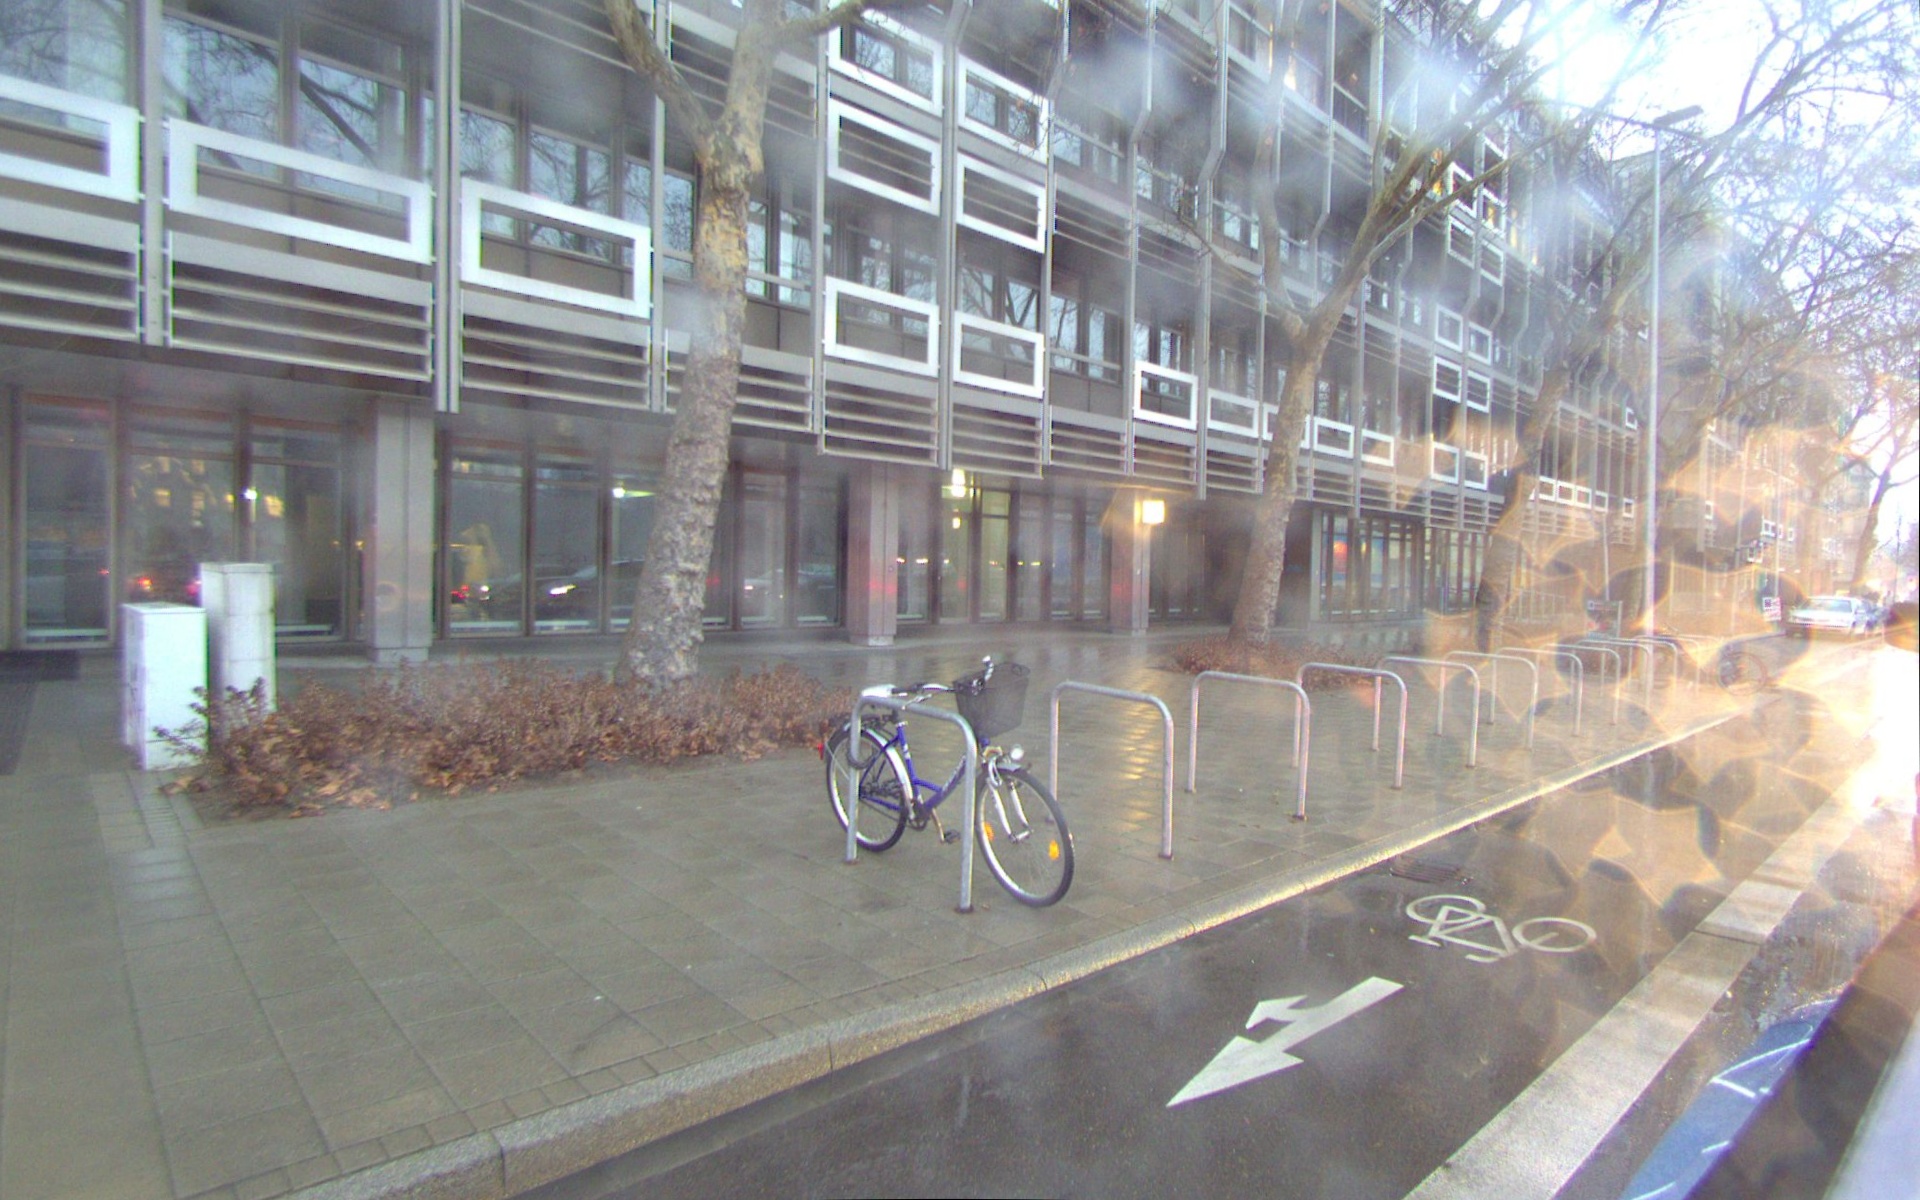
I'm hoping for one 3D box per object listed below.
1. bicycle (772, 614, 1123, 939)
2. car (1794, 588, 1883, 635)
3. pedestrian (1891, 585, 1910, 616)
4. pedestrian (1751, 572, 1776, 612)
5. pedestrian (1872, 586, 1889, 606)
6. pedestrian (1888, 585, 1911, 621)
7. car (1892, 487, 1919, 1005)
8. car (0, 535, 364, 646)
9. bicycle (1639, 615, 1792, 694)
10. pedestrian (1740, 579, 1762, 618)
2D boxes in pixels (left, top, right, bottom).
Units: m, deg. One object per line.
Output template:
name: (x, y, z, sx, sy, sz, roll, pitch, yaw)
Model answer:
bicycle: (-0.146, 0.712, 4.869, 0.629, 1.145, 1.810, 2, 2, -41)
car: (29.413, 0.332, 33.846, 3.930, 1.482, 1.711, -1, 1, -41)
pedestrian: (55.318, 0.033, 59.534, 0.765, 1.771, 0.913, 2, 2, 45)
pedestrian: (45.309, -0.432, 57.093, 1.056, 2.222, 1.096, 0, 0, 38)
pedestrian: (63.061, -0.278, 69.328, 0.738, 1.354, 0.781, 0, 0, -41)
pedestrian: (47.070, 0.139, 50.697, 0.765, 1.771, 0.913, 2, 2, 45)
car: (5.481, 0.509, 4.310, 3.932, 1.864, 1.876, -1, 0, -42)
car: (-10.671, -0.169, 13.995, 3.929, 1.326, 1.998, 0, 3, -40)
bicycle: (11.610, 0.797, 15.595, 0.864, 1.004, 1.704, 0, 4, -41)
pedestrian: (41.307, -0.099, 52.866, 0.912, 2.004, 0.699, 0, 2, -41)
